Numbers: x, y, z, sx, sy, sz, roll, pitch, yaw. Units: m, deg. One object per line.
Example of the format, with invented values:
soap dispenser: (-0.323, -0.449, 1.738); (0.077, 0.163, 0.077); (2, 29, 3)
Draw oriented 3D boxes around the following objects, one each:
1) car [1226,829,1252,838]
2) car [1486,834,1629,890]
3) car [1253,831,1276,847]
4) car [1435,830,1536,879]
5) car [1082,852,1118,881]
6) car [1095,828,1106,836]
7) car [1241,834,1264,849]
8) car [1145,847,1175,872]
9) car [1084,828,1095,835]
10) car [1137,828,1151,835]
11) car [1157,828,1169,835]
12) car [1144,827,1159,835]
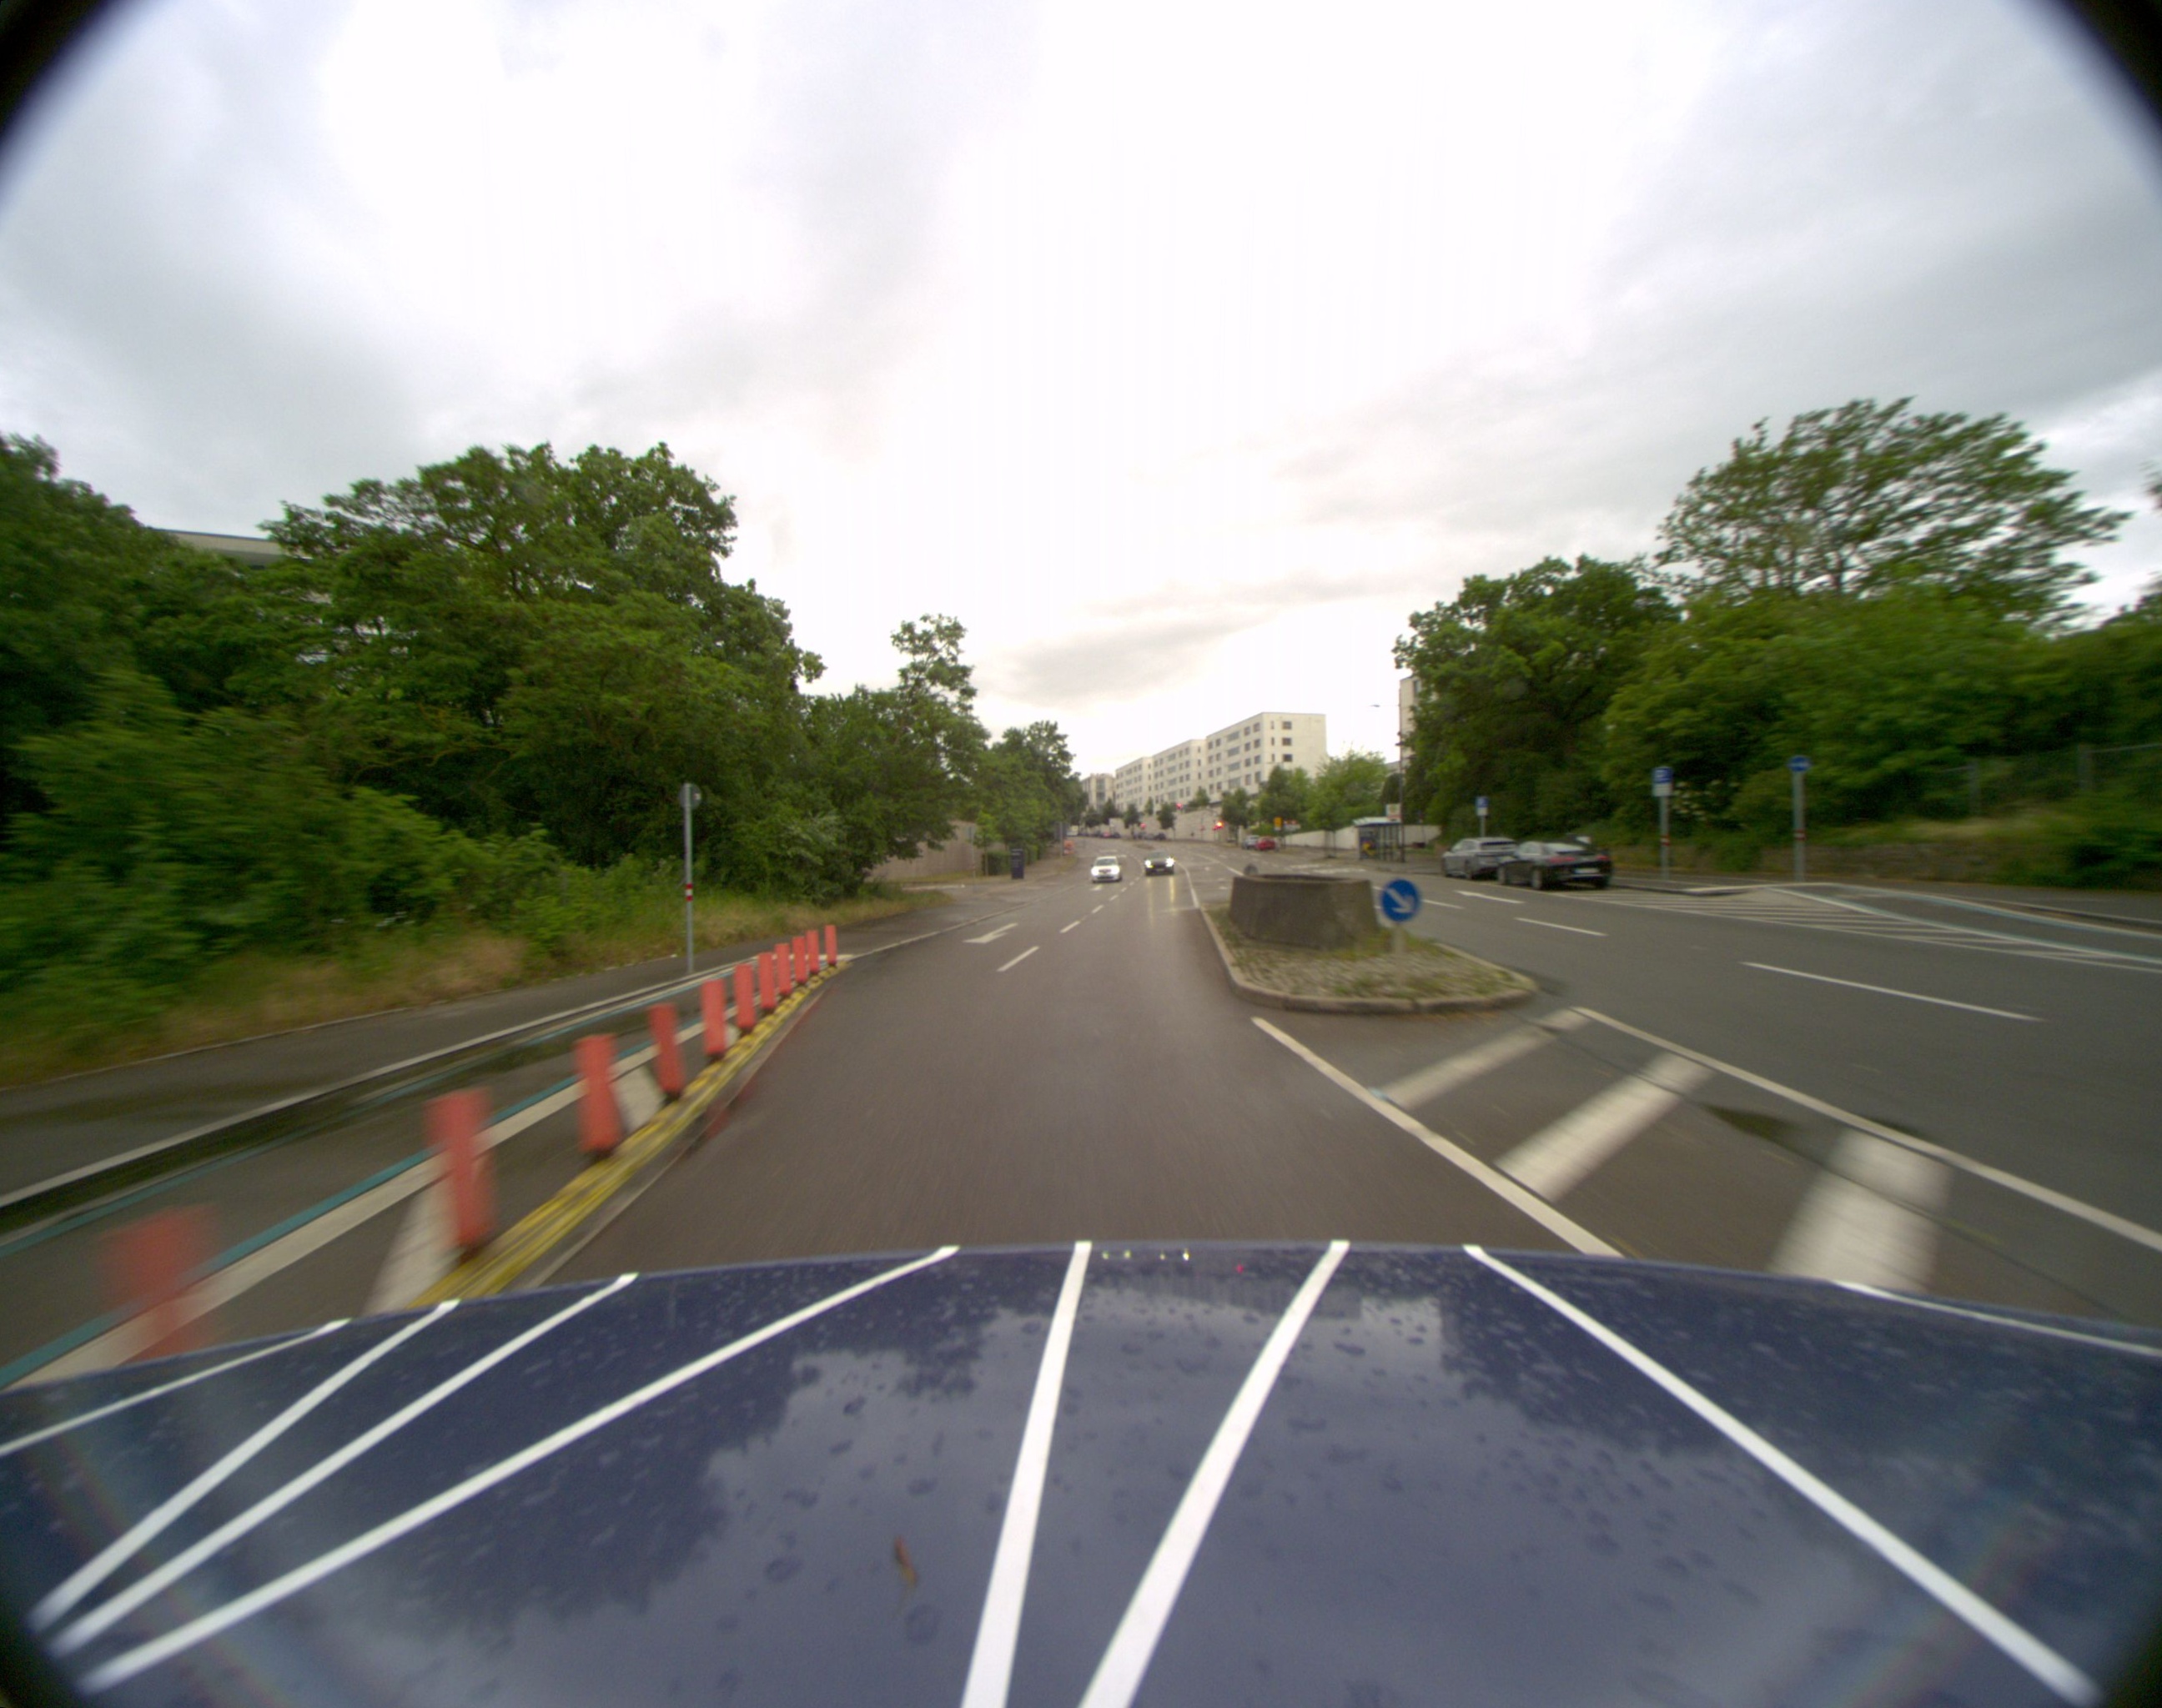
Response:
car: (28.879, -3.730, 138.924); (4.349, 1.643, 1.996); (-2, 3, -16)
car: (14.054, 0.170, 22.786); (1.909, 1.406, 4.785); (-3, 1, 10)
car: (20.293, -1.706, 84.075); (1.669, 1.578, 4.216); (-2, 2, 2)
car: (15.167, -0.042, 28.806); (1.844, 1.580, 4.931); (-3, 1, 10)
car: (1.219, 0.740, 47.387); (1.926, 1.652, 4.001); (-2, 0, 5)
car: (5.079, -5.863, 201.344); (1.926, 2.002, 4.381); (-3, 1, -12)
car: (20.557, -1.506, 91.159); (1.768, 1.644, 4.882); (-3, 2, 2)
car: (5.492, 0.355, 53.226); (1.829, 1.584, 4.000); (-4, 1, 4)
car: (2.385, -6.311, 214.718); (1.926, 2.002, 4.381); (-3, 1, -12)
car: (13.697, -4.944, 165.667); (1.791, 1.623, 3.993); (-2, 3, -15)
car: (16.786, -4.576, 155.486); (1.682, 1.451, 2.691); (-2, 3, -16)
car: (14.998, -4.872, 161.376); (1.864, 1.470, 3.993); (-2, 2, -15)
